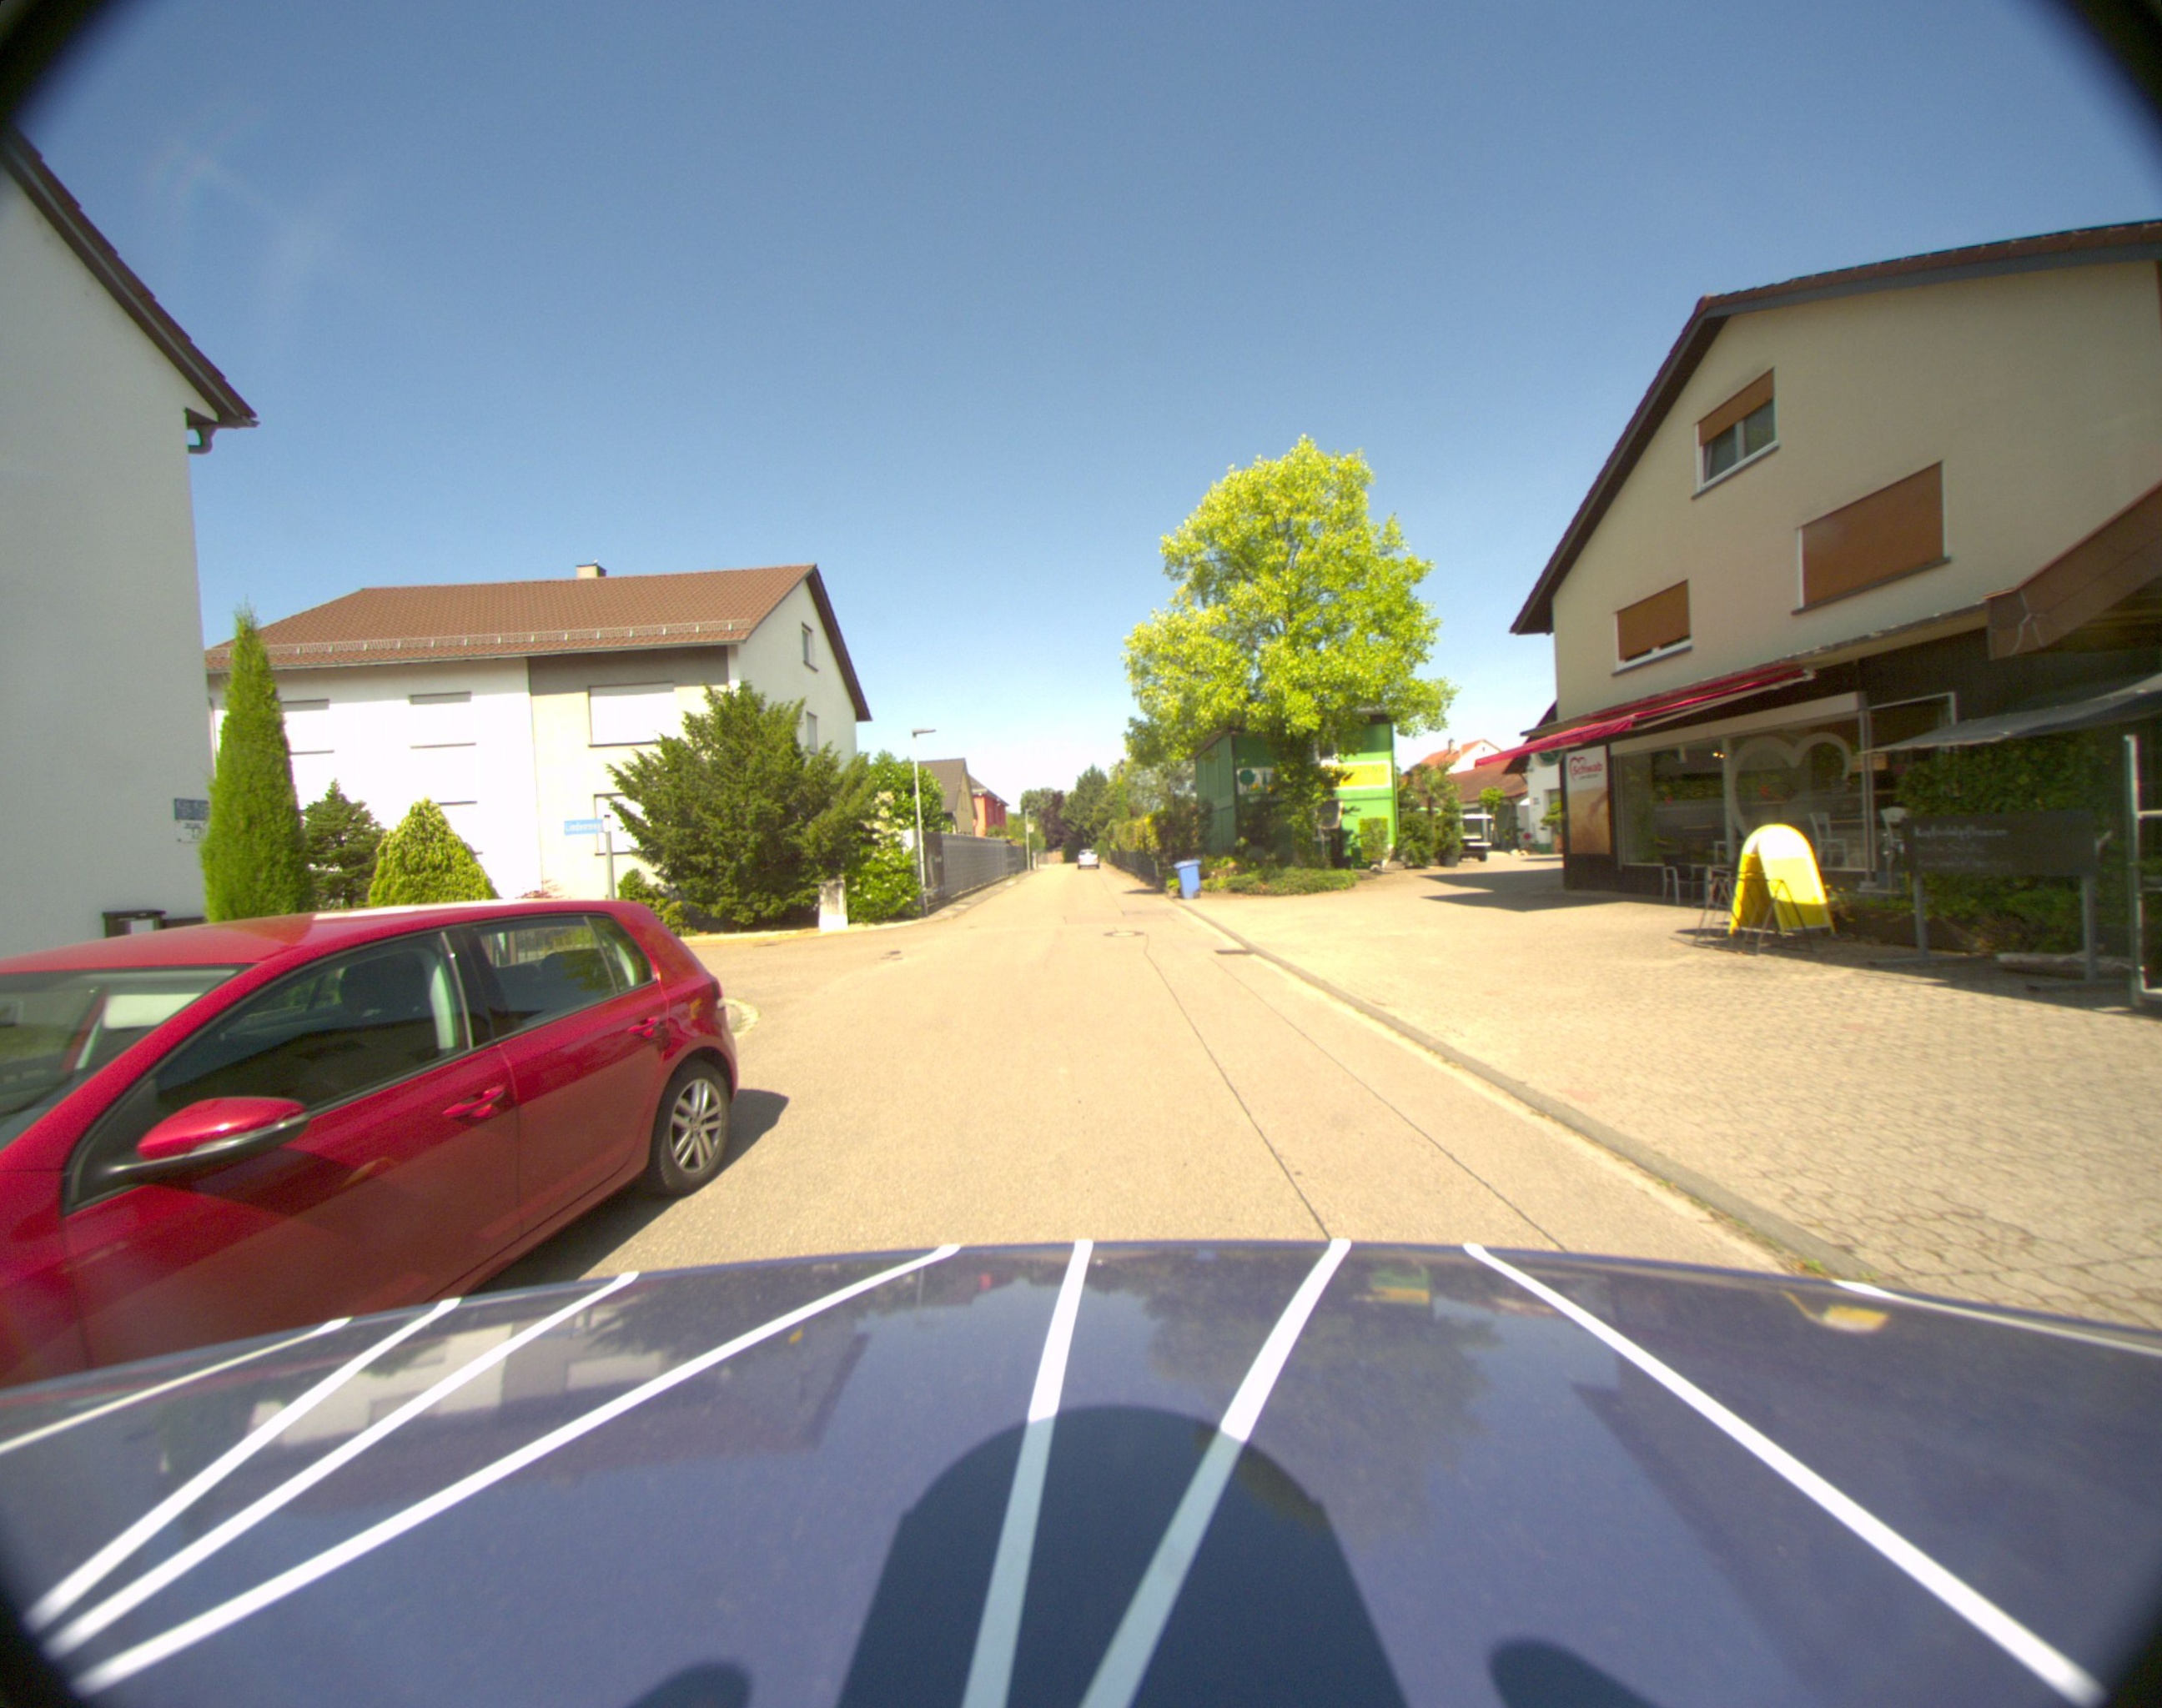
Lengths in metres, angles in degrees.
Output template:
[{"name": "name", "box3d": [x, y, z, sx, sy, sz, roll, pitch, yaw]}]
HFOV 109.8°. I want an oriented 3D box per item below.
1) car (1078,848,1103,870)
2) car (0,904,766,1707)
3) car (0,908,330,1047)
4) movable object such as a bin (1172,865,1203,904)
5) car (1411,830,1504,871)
[{"name": "car", "box3d": [0.728, 0.356, 58.386, 1.757, 1.478, 4.375, -3, 0, 0]}, {"name": "car", "box3d": [-2.857, 1.116, 2.336, 1.779, 1.471, 4.000, -5, 1, 4]}, {"name": "car", "box3d": [-13.534, 1.706, 10.714, 3.996, 1.521, 1.797, -3, 1, 0]}, {"name": "movable object such as a bin", "box3d": [3.038, 0.875, 21.786, 0.733, 1.048, 0.612, -4, 1, 1]}, {"name": "car", "box3d": [15.673, -0.187, 31.854, 1.861, 1.439, 3.999, -5, 1, 1]}]
